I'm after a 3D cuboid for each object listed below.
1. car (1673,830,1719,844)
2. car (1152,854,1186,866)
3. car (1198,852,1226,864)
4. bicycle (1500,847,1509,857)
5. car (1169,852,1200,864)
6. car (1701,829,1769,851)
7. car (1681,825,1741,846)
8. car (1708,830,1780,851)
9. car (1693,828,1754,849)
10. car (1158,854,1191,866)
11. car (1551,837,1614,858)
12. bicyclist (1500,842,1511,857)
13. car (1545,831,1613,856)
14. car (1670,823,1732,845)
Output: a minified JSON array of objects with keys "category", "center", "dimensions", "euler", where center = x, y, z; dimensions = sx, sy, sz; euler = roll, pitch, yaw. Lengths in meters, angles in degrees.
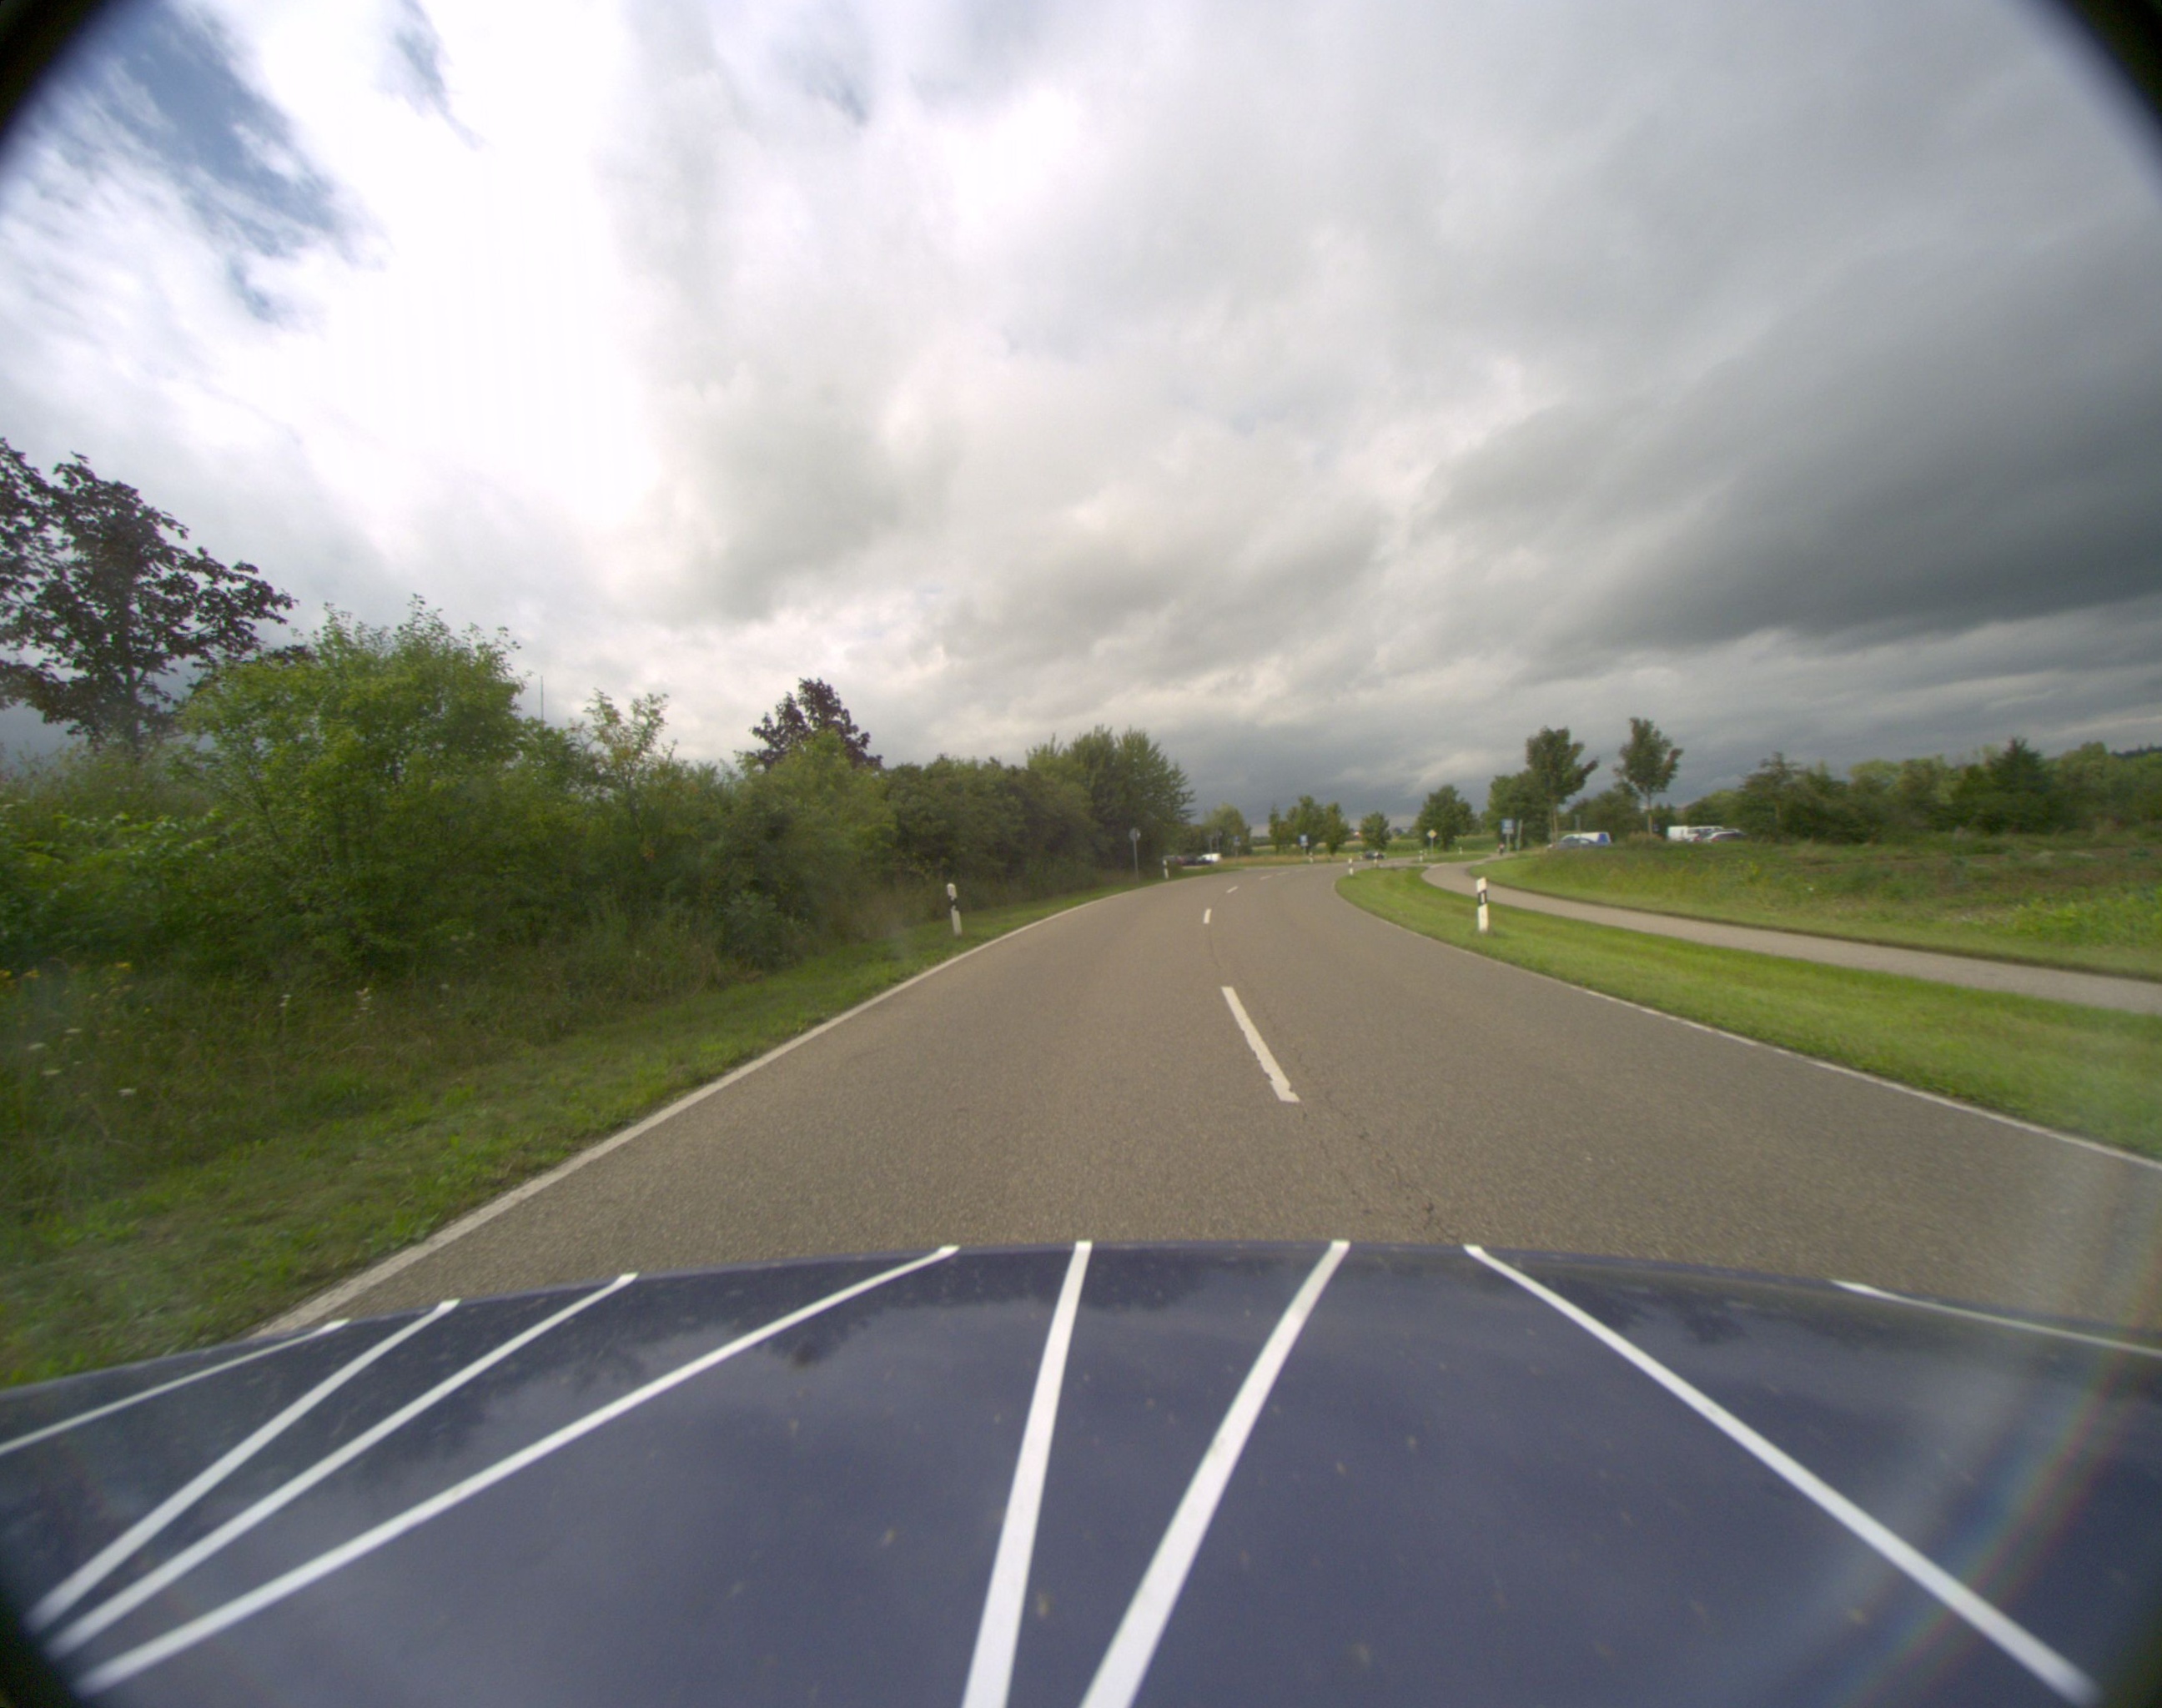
[{"category":"car","center":[72.817,-1.999,90.075],"dimensions":[3.990,1.515,1.797],"euler":[-3,0,33]},{"category":"car","center":[11.554,0.774,99.874],"dimensions":[4.157,1.406,2.002],"euler":[-2,0,17]},{"category":"car","center":[21.056,0.624,121.961],"dimensions":[3.991,1.849,2.003],"euler":[-2,0,21]},{"category":"bicycle","center":[46.463,-0.226,83.325],"dimensions":[0.636,1.026,2.195],"euler":[-2,0,36]},{"category":"car","center":[14.810,0.552,108.429],"dimensions":[3.992,1.488,2.002],"euler":[-2,0,17]},{"category":"car","center":[55.845,-1.199,64.934],"dimensions":[3.990,1.542,1.969],"euler":[-4,-1,27]},{"category":"car","center":[67.281,-1.962,81.231],"dimensions":[4.685,1.914,2.065],"euler":[-4,-1,33]},{"category":"car","center":[53.043,-1.038,60.899],"dimensions":[3.990,1.379,1.845],"euler":[-4,-1,27]},{"category":"car","center":[58.475,-1.390,69.270],"dimensions":[3.990,1.542,1.969],"euler":[-4,-1,34]},{"category":"car","center":[12.706,0.801,103.209],"dimensions":[4.001,1.496,2.055],"euler":[-2,0,24]},{"category":"car","center":[41.489,-0.517,62.888],"dimensions":[4.250,1.585,2.004],"euler":[-3,0,35]},{"category":"bicyclist","center":[46.593,-0.496,83.429],"dimensions":[0.831,1.556,1.057],"euler":[-2,1,38]},{"category":"car","center":[44.073,-0.917,67.298],"dimensions":[4.897,2.002,2.060],"euler":[-3,0,33]},{"category":"car","center":[83.441,-2.690,102.380],"dimensions":[6.319,2.604,2.205],"euler":[-3,0,34]}]
